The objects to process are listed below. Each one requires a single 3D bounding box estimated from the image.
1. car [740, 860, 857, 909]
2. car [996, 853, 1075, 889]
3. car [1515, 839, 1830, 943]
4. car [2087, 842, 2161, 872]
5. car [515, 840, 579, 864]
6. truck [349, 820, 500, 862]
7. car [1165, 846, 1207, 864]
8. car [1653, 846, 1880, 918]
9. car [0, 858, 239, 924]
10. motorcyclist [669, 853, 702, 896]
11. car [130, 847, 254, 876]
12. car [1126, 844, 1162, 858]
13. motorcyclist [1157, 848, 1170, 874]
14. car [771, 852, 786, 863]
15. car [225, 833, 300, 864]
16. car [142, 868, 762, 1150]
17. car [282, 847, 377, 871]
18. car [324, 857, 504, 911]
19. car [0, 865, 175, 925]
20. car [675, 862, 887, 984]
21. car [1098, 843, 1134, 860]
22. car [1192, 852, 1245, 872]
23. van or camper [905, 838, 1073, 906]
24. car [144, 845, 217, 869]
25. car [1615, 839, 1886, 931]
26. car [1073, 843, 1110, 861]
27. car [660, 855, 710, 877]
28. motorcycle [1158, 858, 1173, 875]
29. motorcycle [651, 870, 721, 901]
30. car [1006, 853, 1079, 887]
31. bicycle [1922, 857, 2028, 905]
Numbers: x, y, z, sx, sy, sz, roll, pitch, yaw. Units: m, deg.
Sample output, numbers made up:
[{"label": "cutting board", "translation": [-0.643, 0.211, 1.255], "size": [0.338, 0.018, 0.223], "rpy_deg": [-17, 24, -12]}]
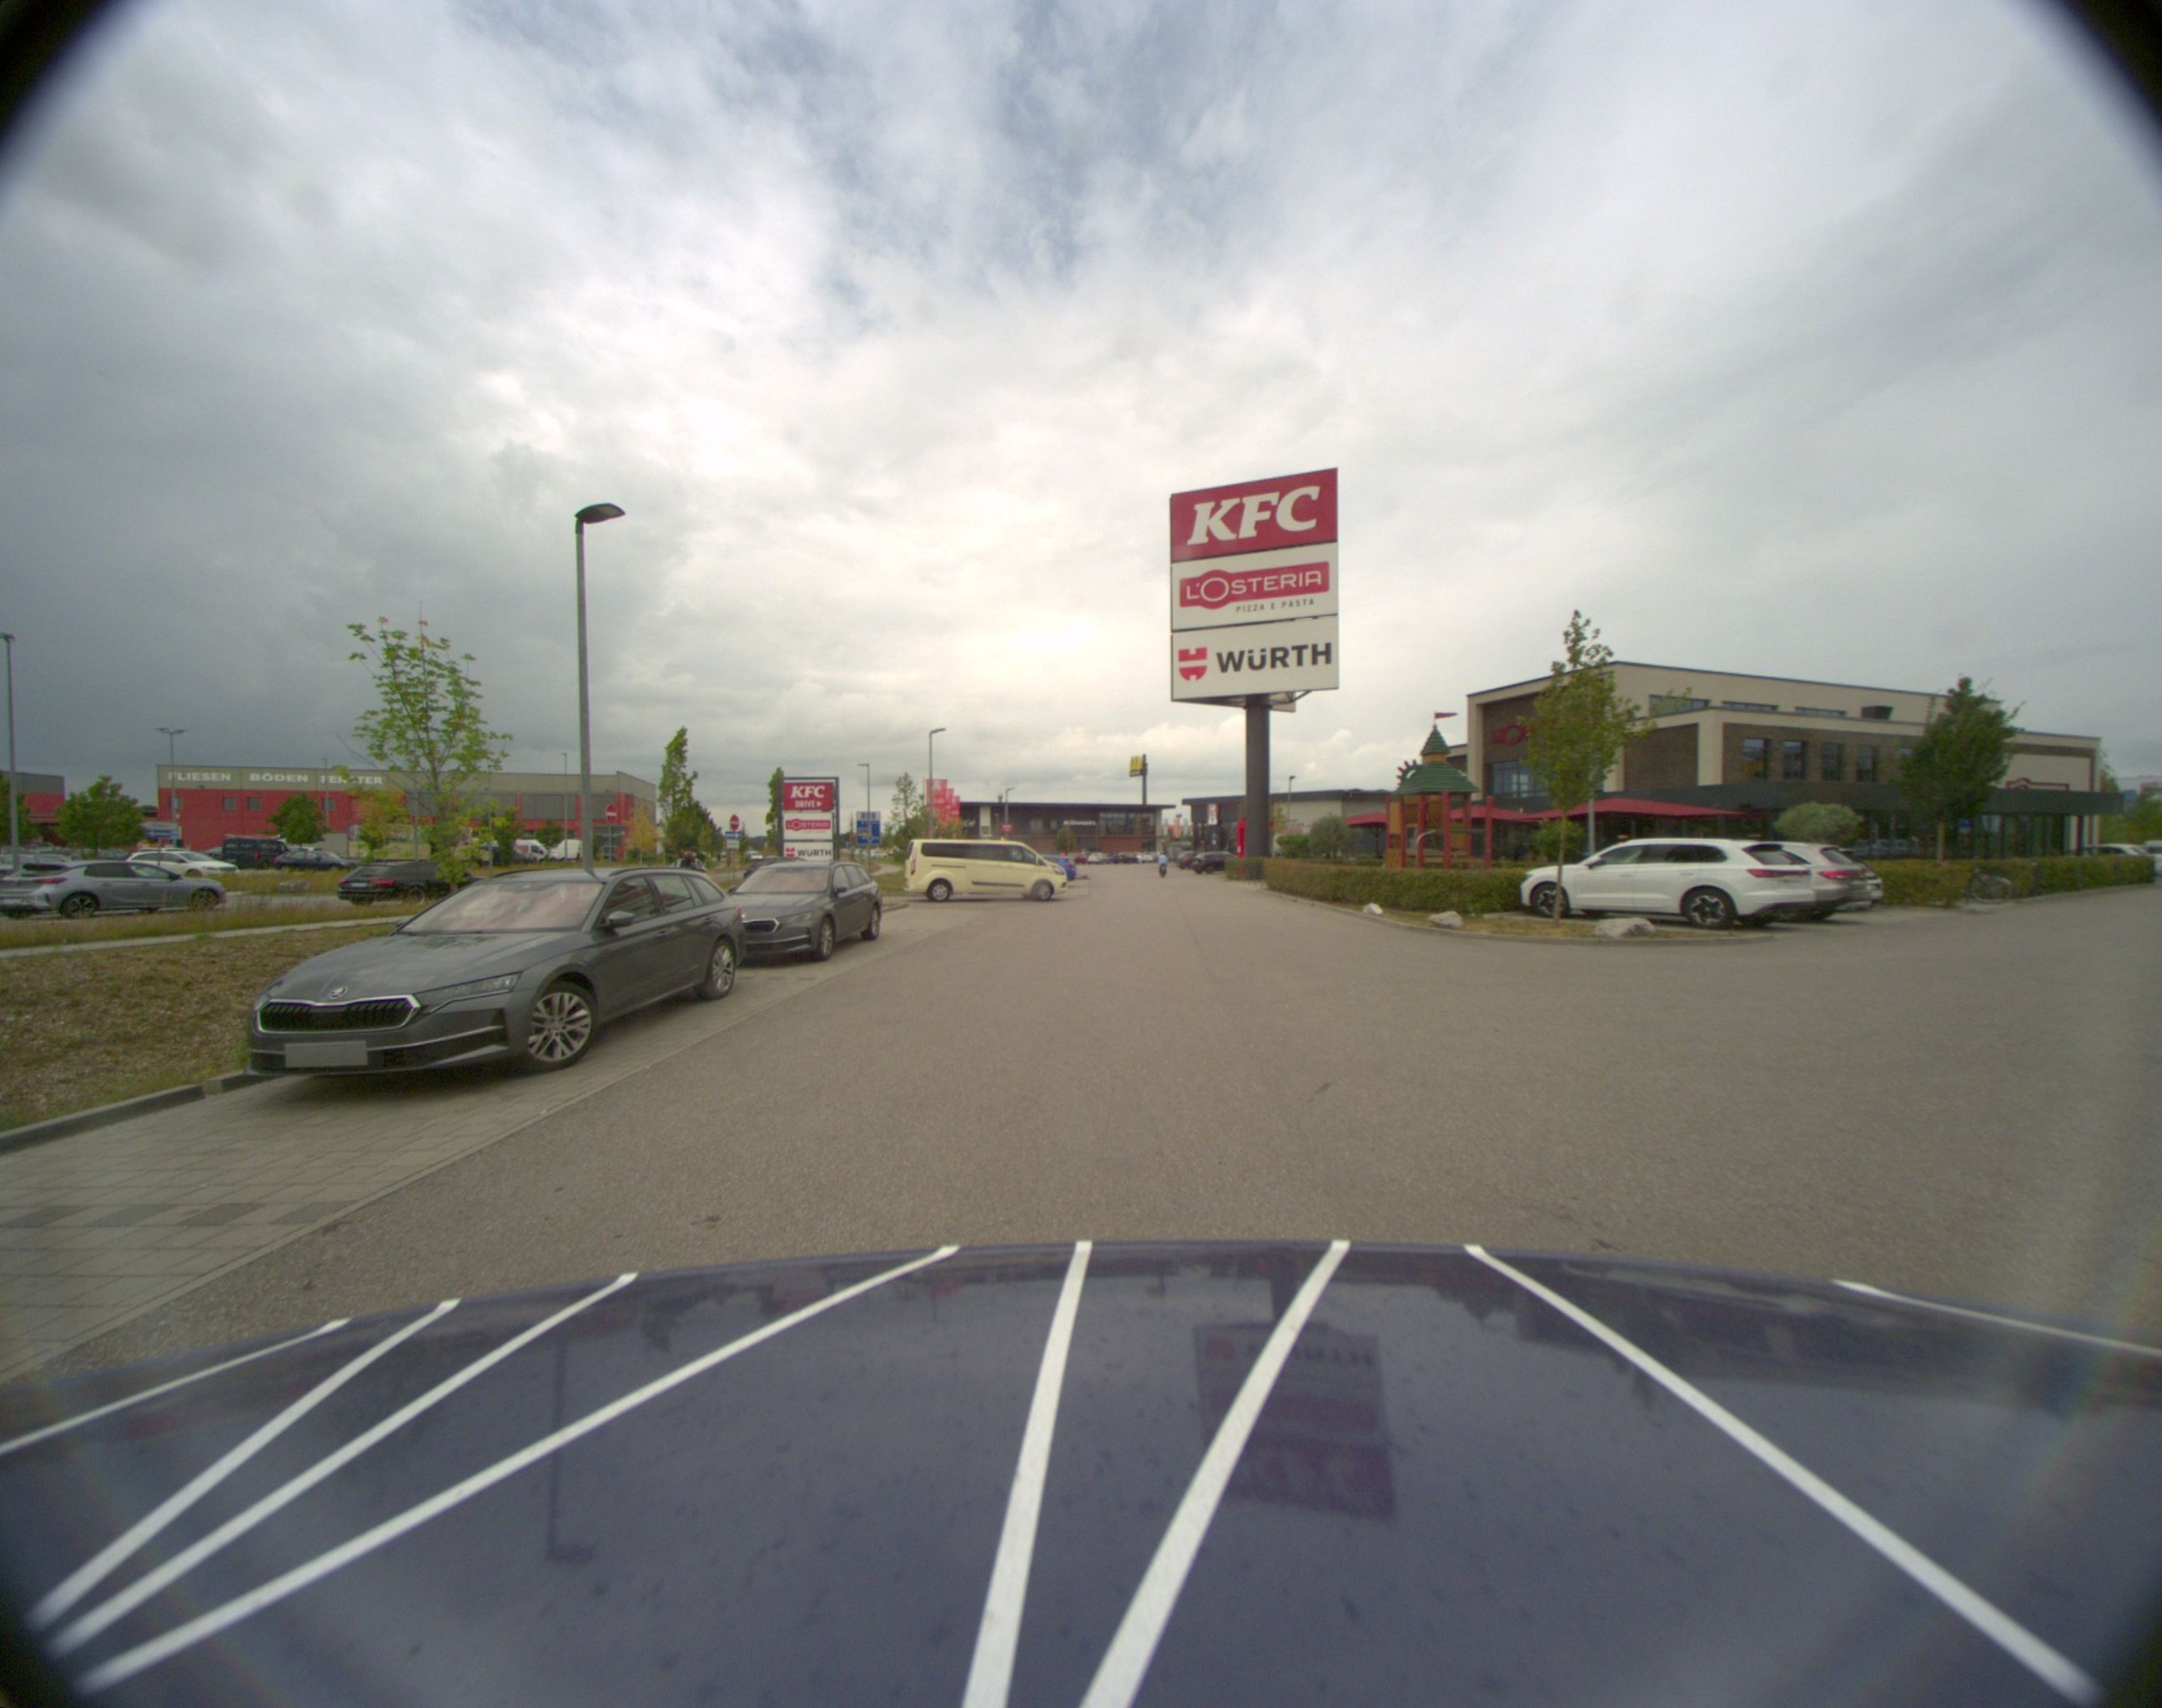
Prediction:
[{"label": "car", "translation": [-8.832, 0.937, 23.908], "size": [3.122, 1.439, 1.507], "rpy_deg": [1, 1, 3]}, {"label": "car", "translation": [-2.062, 0.770, 35.159], "size": [3.525, 1.540, 1.701], "rpy_deg": [-1, 1, 0]}, {"label": "car", "translation": [11.589, 0.611, 15.362], "size": [1.761, 1.738, 4.731], "rpy_deg": [-1, 1, -26]}, {"label": "car", "translation": [49.258, 0.136, 34.863], "size": [1.779, 1.336, 3.701], "rpy_deg": [-2, 1, -36]}, {"label": "car", "translation": [-49.924, -0.167, 71.184], "size": [4.442, 2.110, 1.996], "rpy_deg": [-1, 1, -19]}, {"label": "truck", "translation": [-48.844, -0.996, 56.900], "size": [2.674, 2.929, 8.194], "rpy_deg": [0, 1, 20]}, {"label": "car", "translation": [11.433, 0.131, 82.911], "size": [4.001, 1.827, 1.997], "rpy_deg": [-1, 1, -13]}, {"label": "car", "translation": [17.085, 0.624, 19.095], "size": [2.004, 1.556, 3.989], "rpy_deg": [-2, 1, -40]}, {"label": "car", "translation": [-25.198, 0.884, 19.857], "size": [1.821, 1.486, 4.000], "rpy_deg": [0, 1, 3]}, {"label": "motorcyclist", "translation": [-12.285, 0.642, 23.620], "size": [0.672, 1.308, 0.575], "rpy_deg": [-1, 1, 1]}, {"label": "car", "translation": [-47.394, 0.380, 40.580], "size": [3.999, 1.434, 1.999], "rpy_deg": [-1, 1, -5]}, {"label": "car", "translation": [7.933, -0.414, 96.100], "size": [3.989, 1.652, 2.004], "rpy_deg": [-1, 1, 31]}, {"label": "motorcyclist", "translation": [5.380, 0.462, 49.429], "size": [0.754, 1.629, 1.038], "rpy_deg": [-1, 1, 2]}, {"label": "car", "translation": [-45.457, 0.485, 114.053], "size": [2.002, 1.667, 3.992], "rpy_deg": [-1, 1, -22]}, {"label": "car", "translation": [-60.704, -0.433, 56.443], "size": [2.027, 2.193, 4.340], "rpy_deg": [-1, 2, -21]}, {"label": "car", "translation": [-4.675, 0.962, 6.811], "size": [1.752, 1.482, 4.631], "rpy_deg": [-1, 1, -2]}, {"label": "car", "translation": [-47.425, 0.299, 48.017], "size": [3.845, 1.420, 1.739], "rpy_deg": [-1, 1, -16]}, {"label": "car", "translation": [-21.321, 0.896, 24.582], "size": [1.999, 1.506, 4.368], "rpy_deg": [0, 1, -2]}, {"label": "car", "translation": [-29.266, 1.122, 21.662], "size": [1.756, 1.472, 4.057], "rpy_deg": [-1, 1, 6]}, {"label": "car", "translation": [-4.561, 0.949, 12.368], "size": [1.752, 1.482, 4.486], "rpy_deg": [-1, 1, -2]}, {"label": "car", "translation": [4.295, -0.308, 93.591], "size": [3.989, 2.002, 2.004], "rpy_deg": [-1, 1, 31]}, {"label": "car", "translation": [9.816, 0.567, 54.277], "size": [3.444, 1.288, 1.498], "rpy_deg": [-1, 1, -11]}, {"label": "van or camper", "translation": [-3.042, 0.536, 25.014], "size": [5.238, 2.049, 1.857], "rpy_deg": [-1, 1, -17]}, {"label": "car", "translation": [-65.456, 0.188, 55.302], "size": [1.765, 1.644, 3.828], "rpy_deg": [-1, 2, -21]}, {"label": "car", "translation": [14.274, 0.575, 16.473], "size": [1.913, 1.696, 3.991], "rpy_deg": [-2, 1, -26]}, {"label": "car", "translation": [1.310, -0.226, 91.902], "size": [3.989, 2.002, 2.004], "rpy_deg": [-1, 1, 31]}, {"label": "car", "translation": [-29.392, 0.888, 56.524], "size": [1.758, 1.472, 4.529], "rpy_deg": [-1, 1, -7]}, {"label": "motorcycle", "translation": [5.490, 0.812, 49.491], "size": [0.816, 1.069, 2.149], "rpy_deg": [0, 1, 2]}, {"label": "motorcycle", "translation": [-12.284, 0.985, 23.632], "size": [1.867, 0.911, 0.556], "rpy_deg": [-1, 1, 1]}, {"label": "car", "translation": [-1.844, 0.748, 37.207], "size": [3.440, 1.534, 1.685], "rpy_deg": [-1, 1, 2]}, {"label": "bicycle", "translation": [24.024, 0.701, 20.446], "size": [0.695, 1.212, 1.797], "rpy_deg": [-2, 1, -35]}]
